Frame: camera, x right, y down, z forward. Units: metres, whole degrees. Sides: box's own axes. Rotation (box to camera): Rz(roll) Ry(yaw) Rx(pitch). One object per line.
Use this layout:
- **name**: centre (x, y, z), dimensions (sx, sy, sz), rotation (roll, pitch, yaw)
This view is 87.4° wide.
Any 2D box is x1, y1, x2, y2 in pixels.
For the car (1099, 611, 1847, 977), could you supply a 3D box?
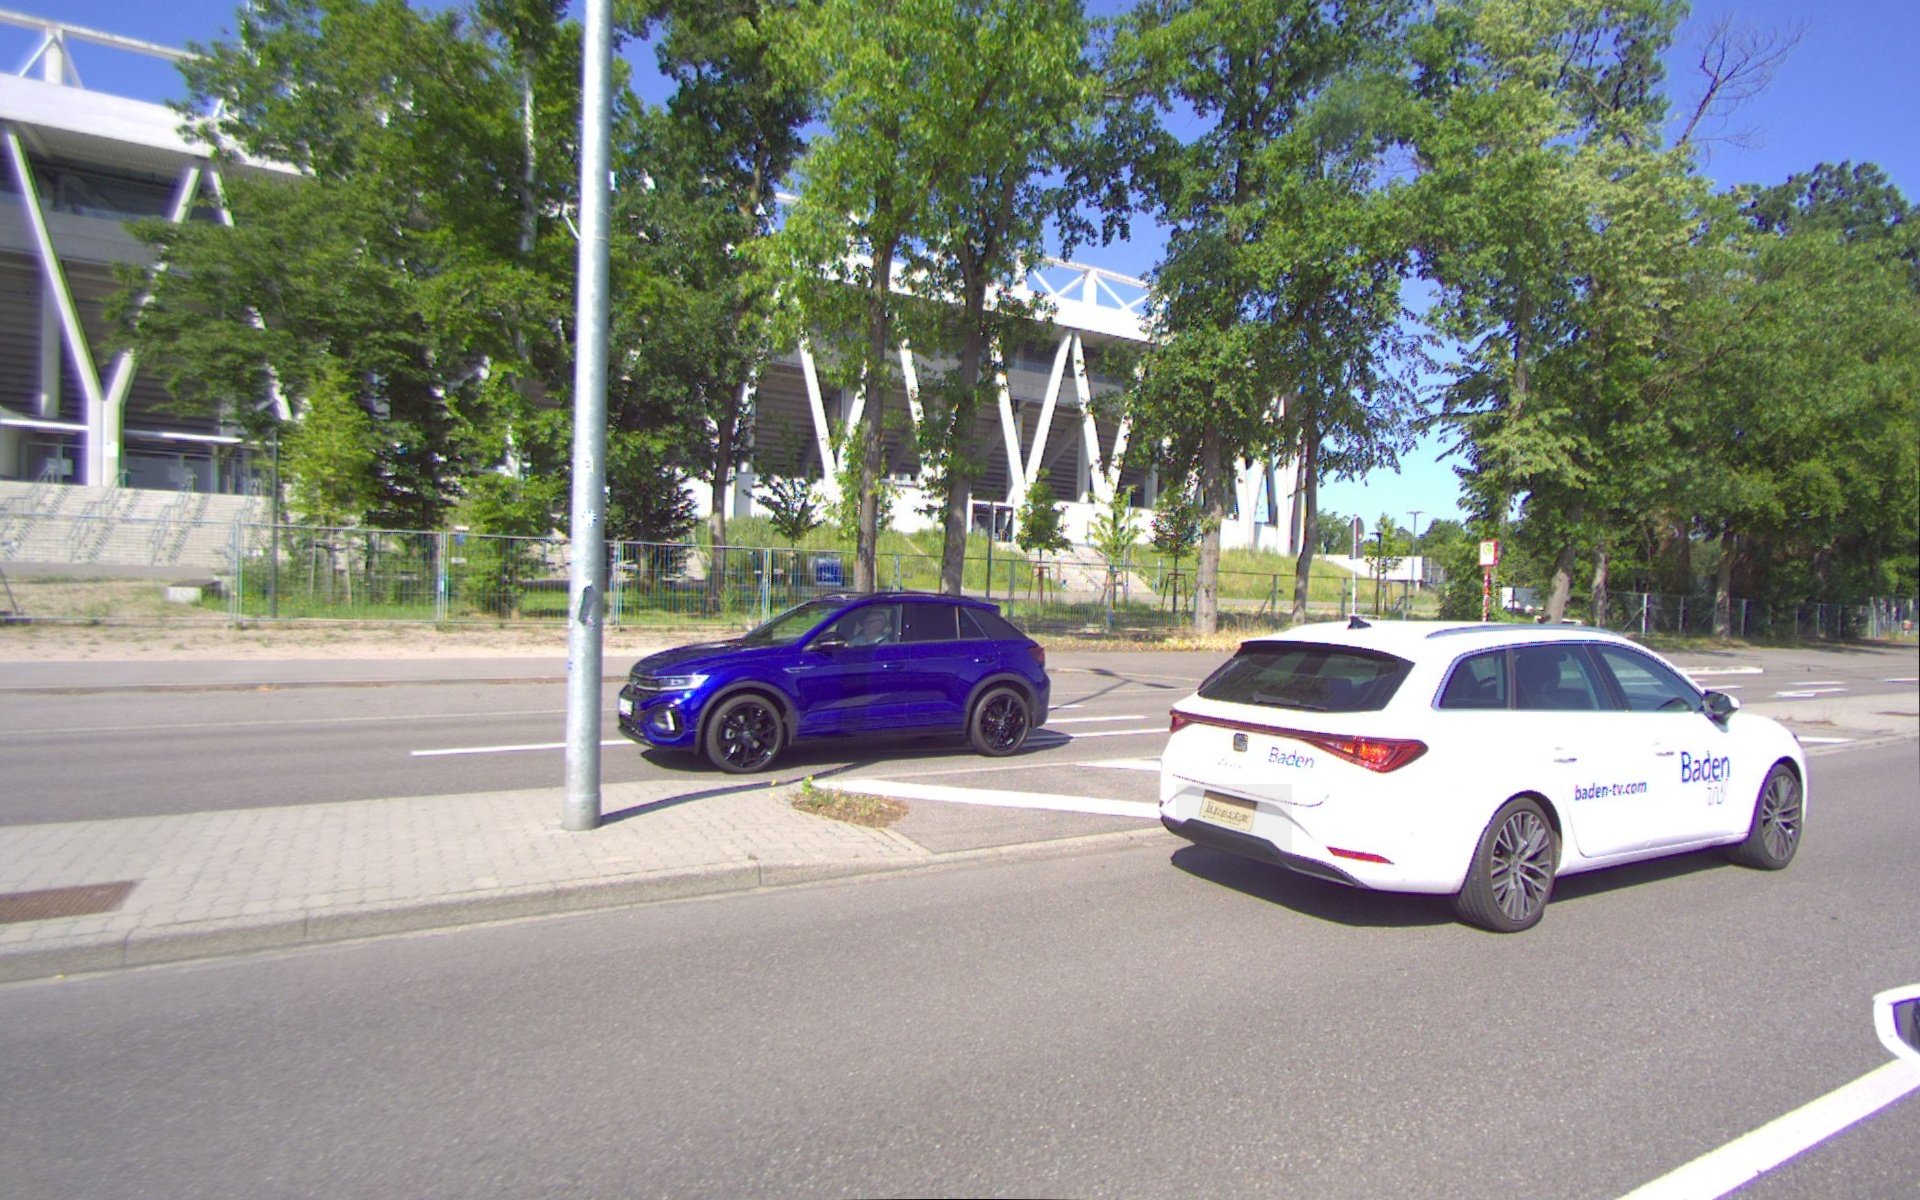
- **car**: centre (3.214, 0.831, 5.975), dimensions (4.664, 1.446, 1.717), rotation (1, 0, -30)

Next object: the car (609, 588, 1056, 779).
- **car**: centre (-1.167, 0.701, 9.653), dimensions (3.902, 1.506, 1.744), rotation (1, -1, -31)
